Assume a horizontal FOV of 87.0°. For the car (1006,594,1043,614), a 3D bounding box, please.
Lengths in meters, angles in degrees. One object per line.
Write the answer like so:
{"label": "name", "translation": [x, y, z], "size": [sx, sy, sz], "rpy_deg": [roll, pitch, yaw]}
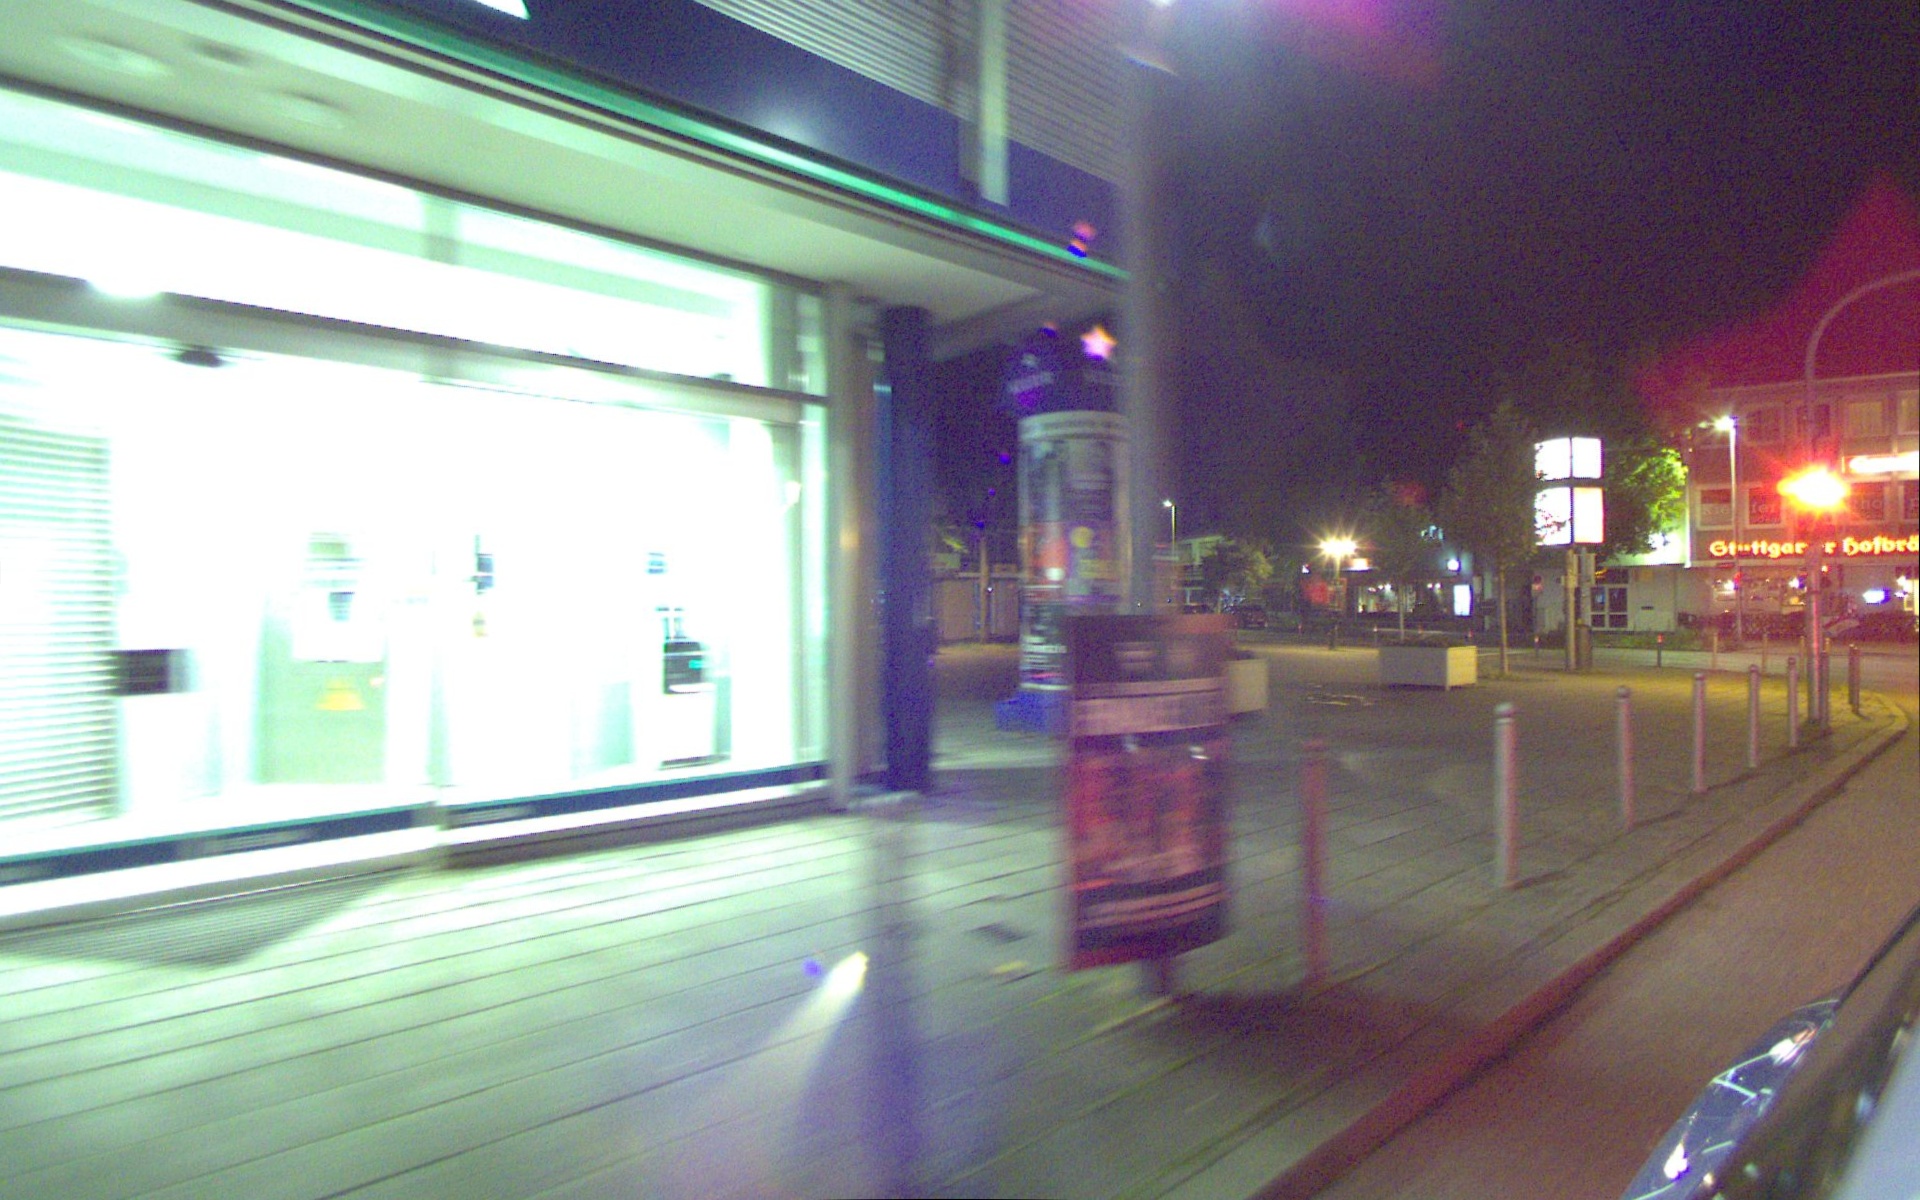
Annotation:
{"label": "car", "translation": [5.657, 0.332, 89.341], "size": [1.970, 1.646, 3.903], "rpy_deg": [1, 0, -17]}

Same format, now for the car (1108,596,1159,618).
{"label": "car", "translation": [12.368, 0.495, 72.355], "size": [1.855, 1.471, 3.903], "rpy_deg": [1, 0, -20]}

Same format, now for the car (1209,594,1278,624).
{"label": "car", "translation": [16.966, 0.521, 60.769], "size": [1.836, 1.674, 3.869], "rpy_deg": [2, 0, -26]}

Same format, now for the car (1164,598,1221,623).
{"label": "car", "translation": [14.960, 0.654, 65.263], "size": [1.855, 1.471, 3.903], "rpy_deg": [1, 0, -17]}

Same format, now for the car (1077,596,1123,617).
{"label": "car", "translation": [10.597, 0.468, 76.993], "size": [1.855, 1.471, 3.903], "rpy_deg": [1, 0, -20]}
